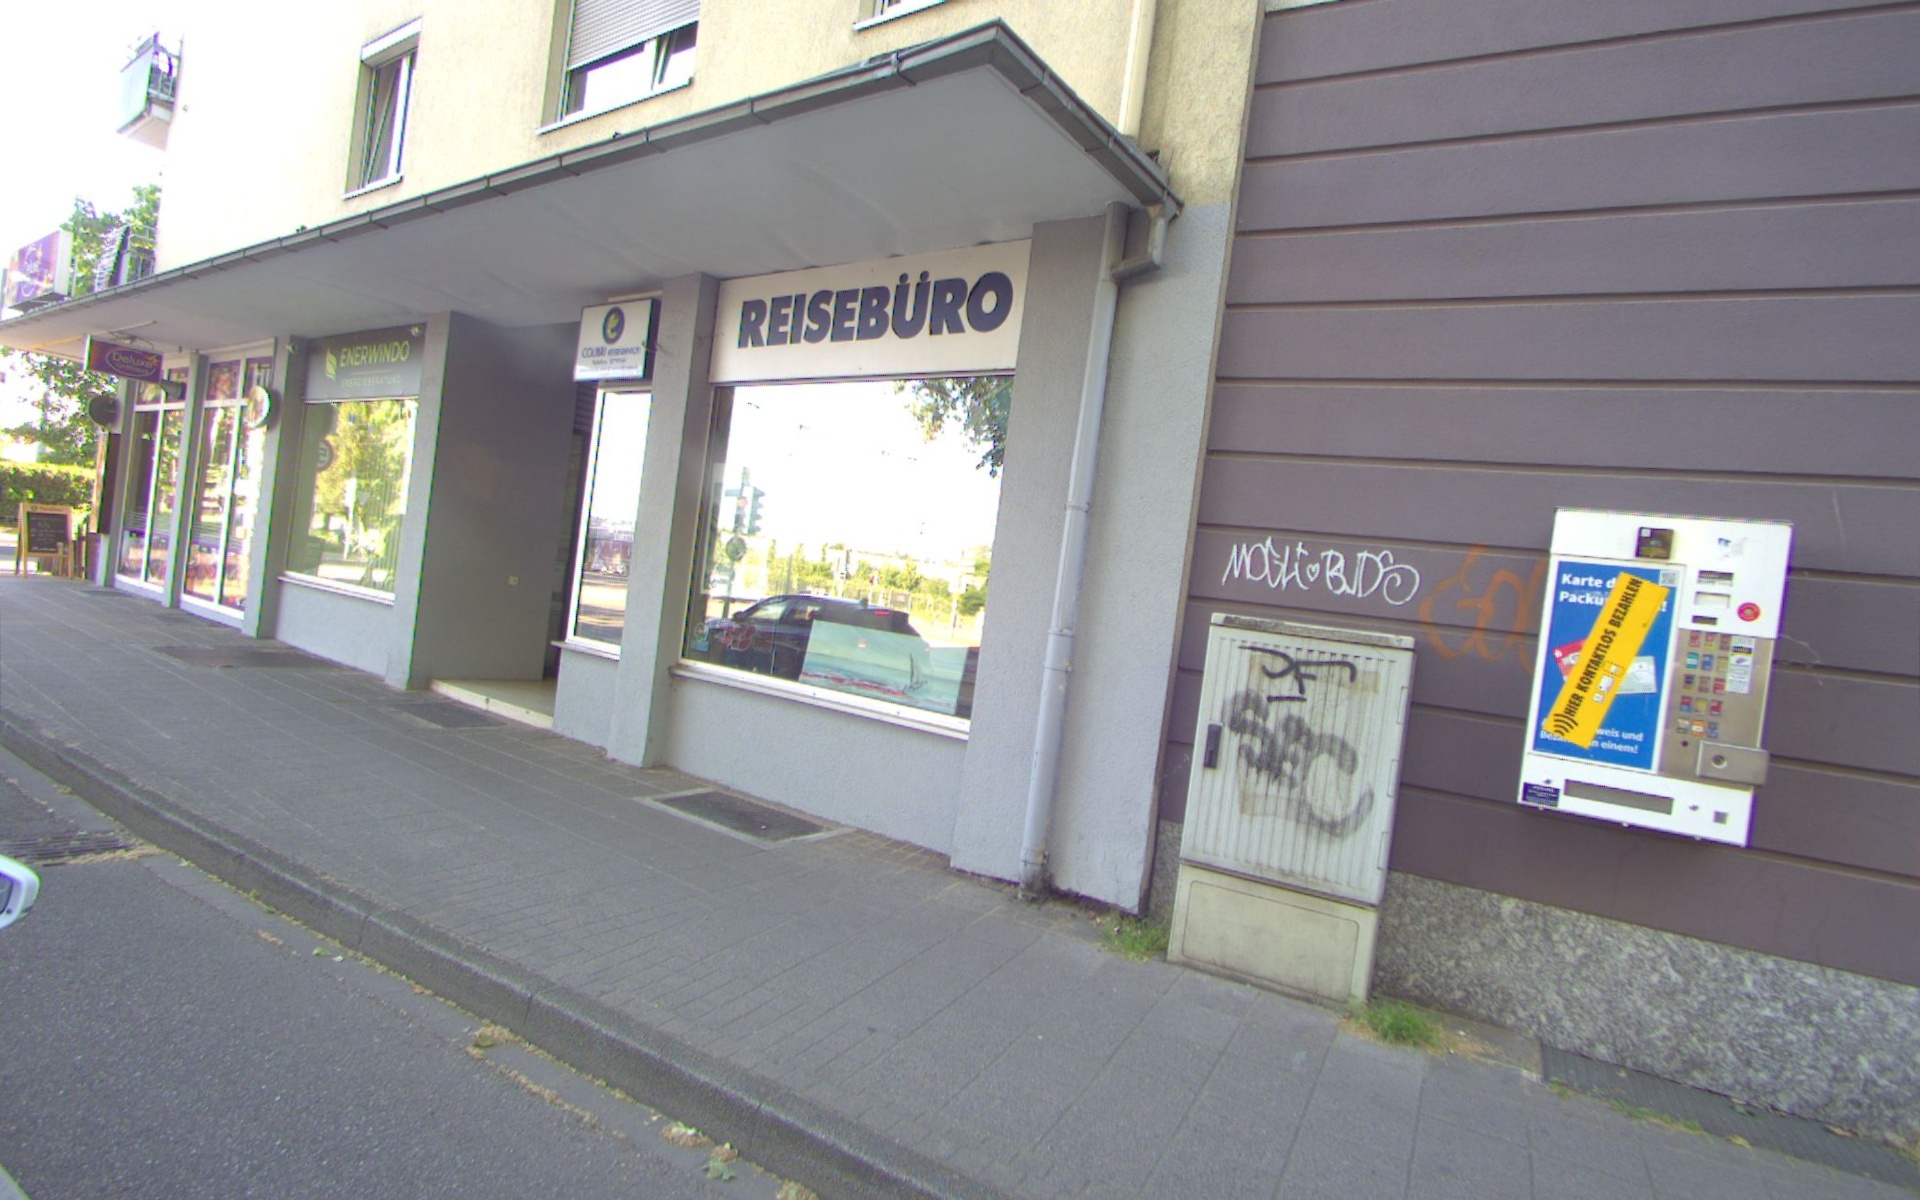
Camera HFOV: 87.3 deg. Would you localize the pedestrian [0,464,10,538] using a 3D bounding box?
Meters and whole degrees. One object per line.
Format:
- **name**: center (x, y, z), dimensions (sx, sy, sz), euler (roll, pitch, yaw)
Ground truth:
- **pedestrian**: center (-19.002, -1.747, 19.474), dimensions (0.630, 1.841, 0.738), euler (8, -1, -38)
